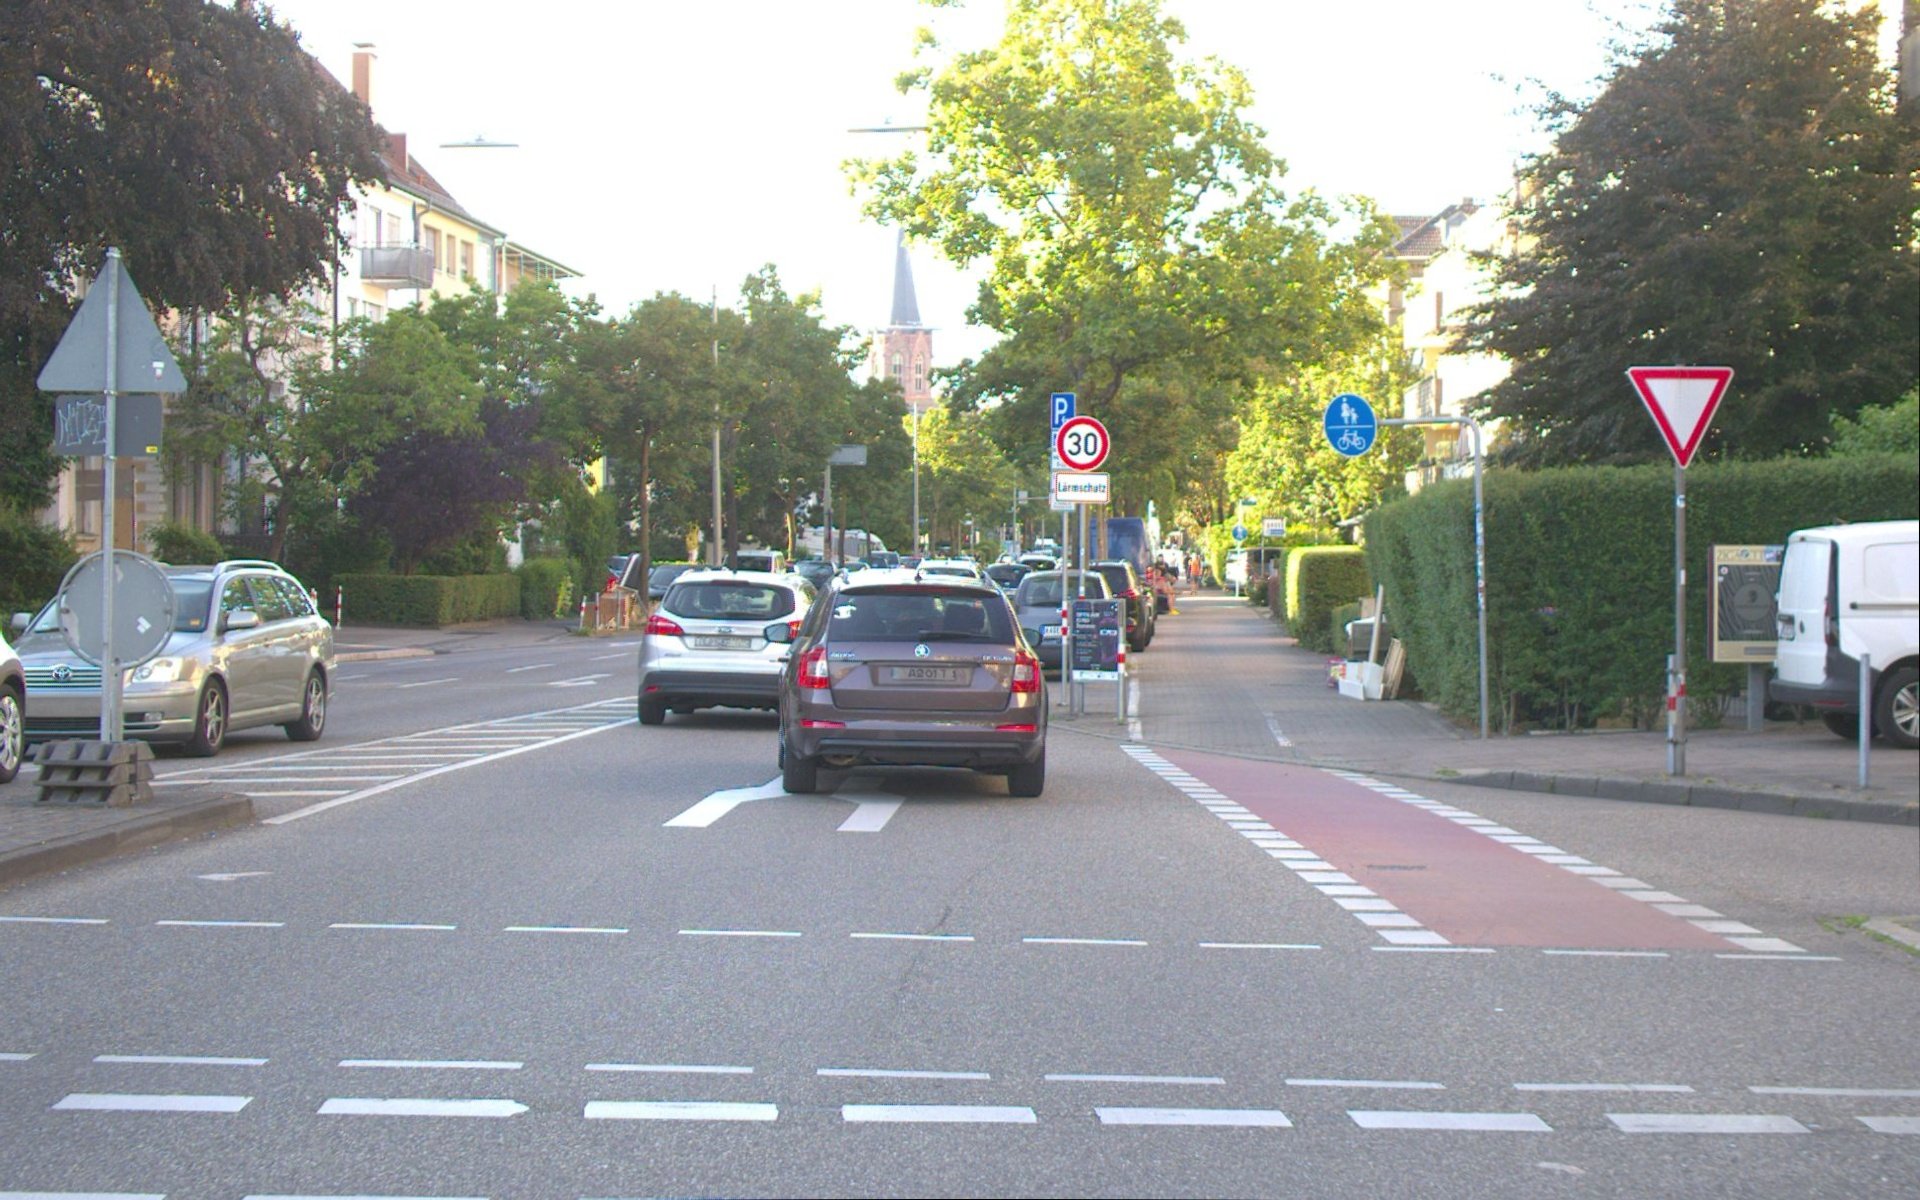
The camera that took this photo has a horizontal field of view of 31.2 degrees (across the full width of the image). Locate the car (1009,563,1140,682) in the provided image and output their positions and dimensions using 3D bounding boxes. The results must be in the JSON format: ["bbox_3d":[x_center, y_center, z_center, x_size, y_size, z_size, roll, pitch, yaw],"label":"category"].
[{"bbox_3d":[1.642,0.286,48.165,1.732,1.545,3.646,0,1,3],"label":"car"}]

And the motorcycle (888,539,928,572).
[{"bbox_3d":[-2.439,-2.091,160.204,0.764,1.506,2.030,-1,2,-39],"label":"motorcycle"}]

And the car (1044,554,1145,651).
[{"bbox_3d":[2.456,0.016,61.893,1.732,1.645,4.291,0,1,3],"label":"car"}]

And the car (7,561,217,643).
[{"bbox_3d":[-15.939,0.022,64.723,3.497,1.481,1.816,0,1,0],"label":"car"}]

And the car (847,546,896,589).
[{"bbox_3d":[-3.733,-1.378,145.269,1.750,1.734,3.590,0,1,3],"label":"car"}]

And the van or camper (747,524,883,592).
[{"bbox_3d":[-8.265,-2.427,196.857,7.640,3.861,2.000,0,1,2],"label":"van or camper"}]

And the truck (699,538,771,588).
[{"bbox_3d":[-9.615,-1.592,147.102,2.914,2.086,1.546,0,1,3],"label":"truck"}]

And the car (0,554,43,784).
[{"bbox_3d":[-7.084,0.465,20.880,1.828,1.455,3.902,0,1,3],"label":"car"}]

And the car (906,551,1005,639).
[{"bbox_3d":[-0.060,-0.124,67.570,1.732,1.645,3.541,0,1,3],"label":"car"}]

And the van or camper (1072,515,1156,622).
[{"bbox_3d":[4.025,-0.807,89.072,2.068,2.666,5.989,0,0,3],"label":"van or camper"}]

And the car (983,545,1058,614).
[{"bbox_3d":[1.536,-0.539,85.885,1.732,1.645,3.541,0,1,3],"label":"car"}]

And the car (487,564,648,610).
[{"bbox_3d":[-11.850,-0.398,103.631,4.709,1.358,2.001,0,1,-9],"label":"car"}]

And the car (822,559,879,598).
[{"bbox_3d":[-4.188,-0.834,132.094,1.754,1.415,4.425,0,1,4],"label":"car"}]

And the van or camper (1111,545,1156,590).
[{"bbox_3d":[8.014,-1.522,158.504,1.994,2.007,4.000,0,1,3],"label":"van or camper"}]

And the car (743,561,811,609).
[{"bbox_3d":[-5.776,-0.489,108.981,1.717,1.416,3.786,0,1,3],"label":"car"}]

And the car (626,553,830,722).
[{"bbox_3d":[-2.191,0.316,33.324,1.729,1.488,3.951,0,1,0],"label":"car"}]

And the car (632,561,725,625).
[{"bbox_3d":[-7.016,-0.188,86.058,1.750,1.497,4.196,0,1,3],"label":"car"}]

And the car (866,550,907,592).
[{"bbox_3d":[-3.195,-1.287,149.912,1.507,1.751,3.693,0,1,3],"label":"car"}]

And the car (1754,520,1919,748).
[{"bbox_3d":[8.781,0.257,28.235,4.087,1.808,1.861,0,1,1],"label":"car"}]

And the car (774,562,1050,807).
[{"bbox_3d":[-0.314,0.510,23.610,1.729,1.488,3.951,0,1,0],"label":"car"}]

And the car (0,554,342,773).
[{"bbox_3d":[-6.278,0.422,26.946,1.828,1.509,4.604,0,1,3],"label":"car"}]

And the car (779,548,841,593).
[{"bbox_3d":[-5.192,-1.044,119.685,1.717,1.492,4.247,0,1,3],"label":"car"}]

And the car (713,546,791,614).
[{"bbox_3d":[-6.145,-0.613,101.988,1.770,1.912,4.459,0,1,3],"label":"car"}]
